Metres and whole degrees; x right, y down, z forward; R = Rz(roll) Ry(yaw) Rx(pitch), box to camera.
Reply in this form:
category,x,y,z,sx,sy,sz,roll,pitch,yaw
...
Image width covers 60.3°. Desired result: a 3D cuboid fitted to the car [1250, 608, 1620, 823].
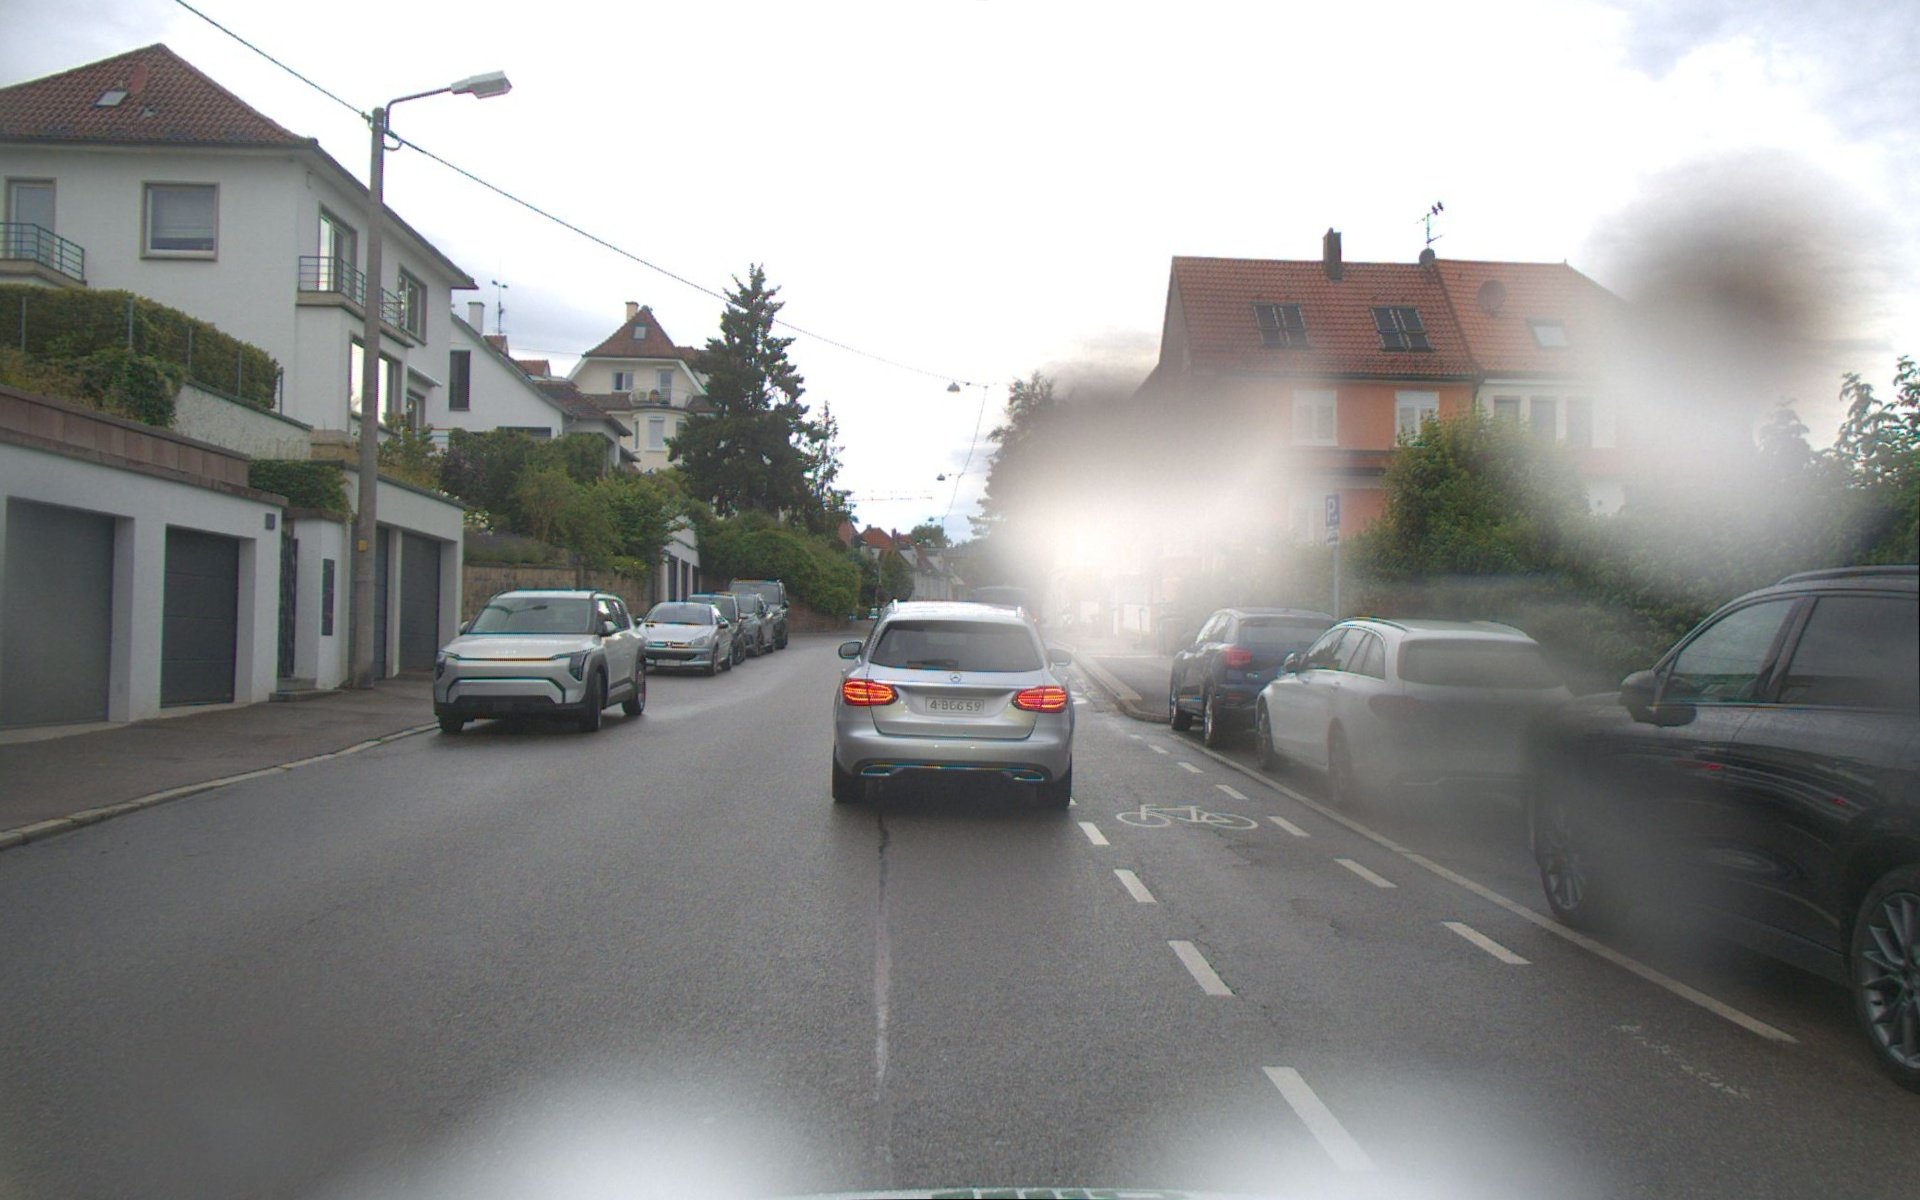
category,x,y,z,sx,sy,sz,roll,pitch,yaw
car,3.745,0.827,13.937,1.679,1.430,4.606,0,1,-2

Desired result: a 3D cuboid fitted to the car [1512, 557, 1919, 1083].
category,x,y,z,sx,sy,sz,roll,pitch,yaw
car,3.970,0.708,6.597,1.849,1.692,4.546,1,0,-2

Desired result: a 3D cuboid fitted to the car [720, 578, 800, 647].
category,x,y,z,sx,sy,sz,roll,pitch,yaw
car,-5.790,0.325,48.386,2.087,1.892,5.588,1,0,-5

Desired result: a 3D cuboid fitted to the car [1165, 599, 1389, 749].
category,x,y,z,sx,sy,sz,roll,pitch,yaw
car,3.580,0.771,19.417,1.718,1.557,4.204,0,0,-2

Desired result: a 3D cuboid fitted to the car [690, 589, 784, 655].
category,x,y,z,sx,sy,sz,roll,pitch,yaw
car,-5.653,0.521,42.374,1.859,1.541,4.341,1,0,-1

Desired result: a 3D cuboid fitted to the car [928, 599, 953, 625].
category,x,y,z,sx,sy,sz,roll,pitch,yaw
car,-2.001,1.221,169.574,2.417,2.441,3.999,-3,0,-1

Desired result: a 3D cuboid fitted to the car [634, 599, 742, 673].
category,x,y,z,sx,sy,sz,roll,pitch,yaw
car,-5.372,0.677,33.060,1.577,1.361,3.840,0,1,-1

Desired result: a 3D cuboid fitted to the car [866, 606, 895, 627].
category,x,y,z,sx,sy,sz,roll,pitch,yaw
car,-5.883,1.201,122.192,2.074,1.497,4.015,0,0,-2

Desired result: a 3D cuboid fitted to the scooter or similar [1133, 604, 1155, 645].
category,x,y,z,sx,sy,sz,roll,pitch,yaw
scooter or similar,5.730,0.761,51.504,0.678,1.245,1.300,0,0,7

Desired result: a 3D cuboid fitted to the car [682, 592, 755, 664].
category,x,y,z,sx,sy,sz,roll,pitch,yaw
car,-5.464,0.596,37.707,1.467,1.550,3.156,0,1,-5

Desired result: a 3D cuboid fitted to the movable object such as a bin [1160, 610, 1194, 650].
category,x,y,z,sx,sy,sz,roll,pitch,yaw
movable object such as a bin,5.491,0.756,41.876,0.564,0.986,0.662,1,0,-33

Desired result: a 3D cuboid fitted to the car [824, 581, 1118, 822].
category,x,y,z,sx,sy,sz,roll,pitch,yaw
car,0.090,0.660,13.194,1.942,1.581,4.298,1,0,0

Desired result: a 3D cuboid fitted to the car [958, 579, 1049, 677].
category,x,y,z,sx,sy,sz,roll,pitch,yaw
car,0.970,0.562,36.833,1.787,1.915,4.096,-4,1,1

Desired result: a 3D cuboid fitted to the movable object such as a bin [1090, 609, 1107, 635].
category,x,y,z,sx,sy,sz,roll,pitch,yaw
movable object such as a bin,5.299,0.837,63.396,0.538,0.952,0.634,-3,0,-1

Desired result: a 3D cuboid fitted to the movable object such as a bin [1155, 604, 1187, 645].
category,x,y,z,sx,sy,sz,roll,pitch,yaw
movable object such as a bin,5.594,0.649,43.828,0.697,1.048,0.757,-2,0,-2

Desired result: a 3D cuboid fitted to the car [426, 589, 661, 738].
category,x,y,z,sx,sy,sz,roll,pitch,yaw
car,-4.956,0.684,20.269,1.859,1.595,4.237,-1,0,-1

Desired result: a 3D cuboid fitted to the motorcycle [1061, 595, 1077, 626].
category,x,y,z,sx,sy,sz,roll,pitch,yaw
motorcycle,4.822,0.459,73.088,0.570,1.283,2.332,-2,0,2
